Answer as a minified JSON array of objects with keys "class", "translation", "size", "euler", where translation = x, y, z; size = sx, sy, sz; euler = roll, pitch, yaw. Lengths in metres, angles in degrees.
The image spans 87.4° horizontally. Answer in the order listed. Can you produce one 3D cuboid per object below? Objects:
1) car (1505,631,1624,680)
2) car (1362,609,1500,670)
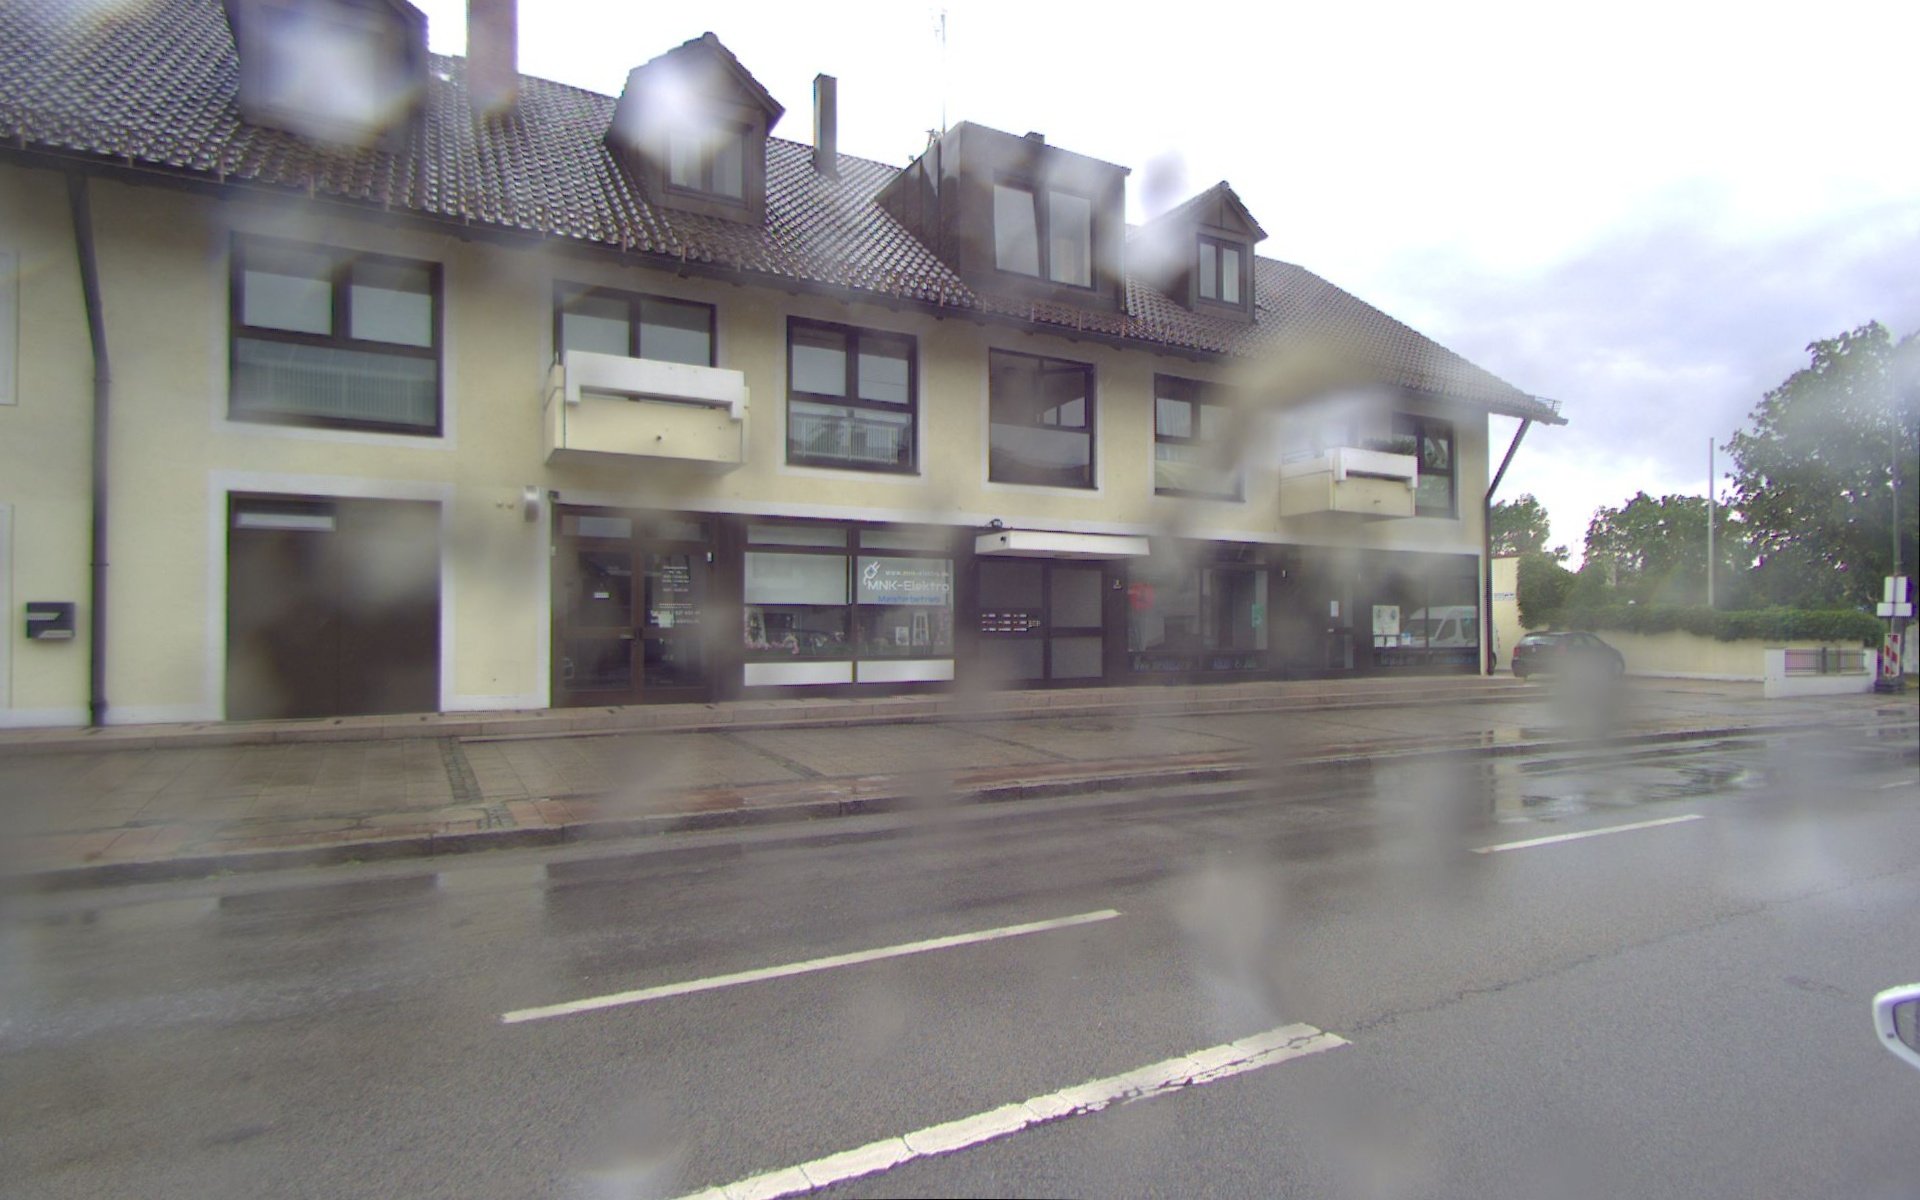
[{"class":"car","translation":[18.093,1.650,30.062],"size":[3.468,1.398,1.599],"euler":[1,-3,-30]},{"class":"car","translation":[16.020,1.340,34.126],"size":[4.682,1.944,1.955],"euler":[1,-3,-31]}]
